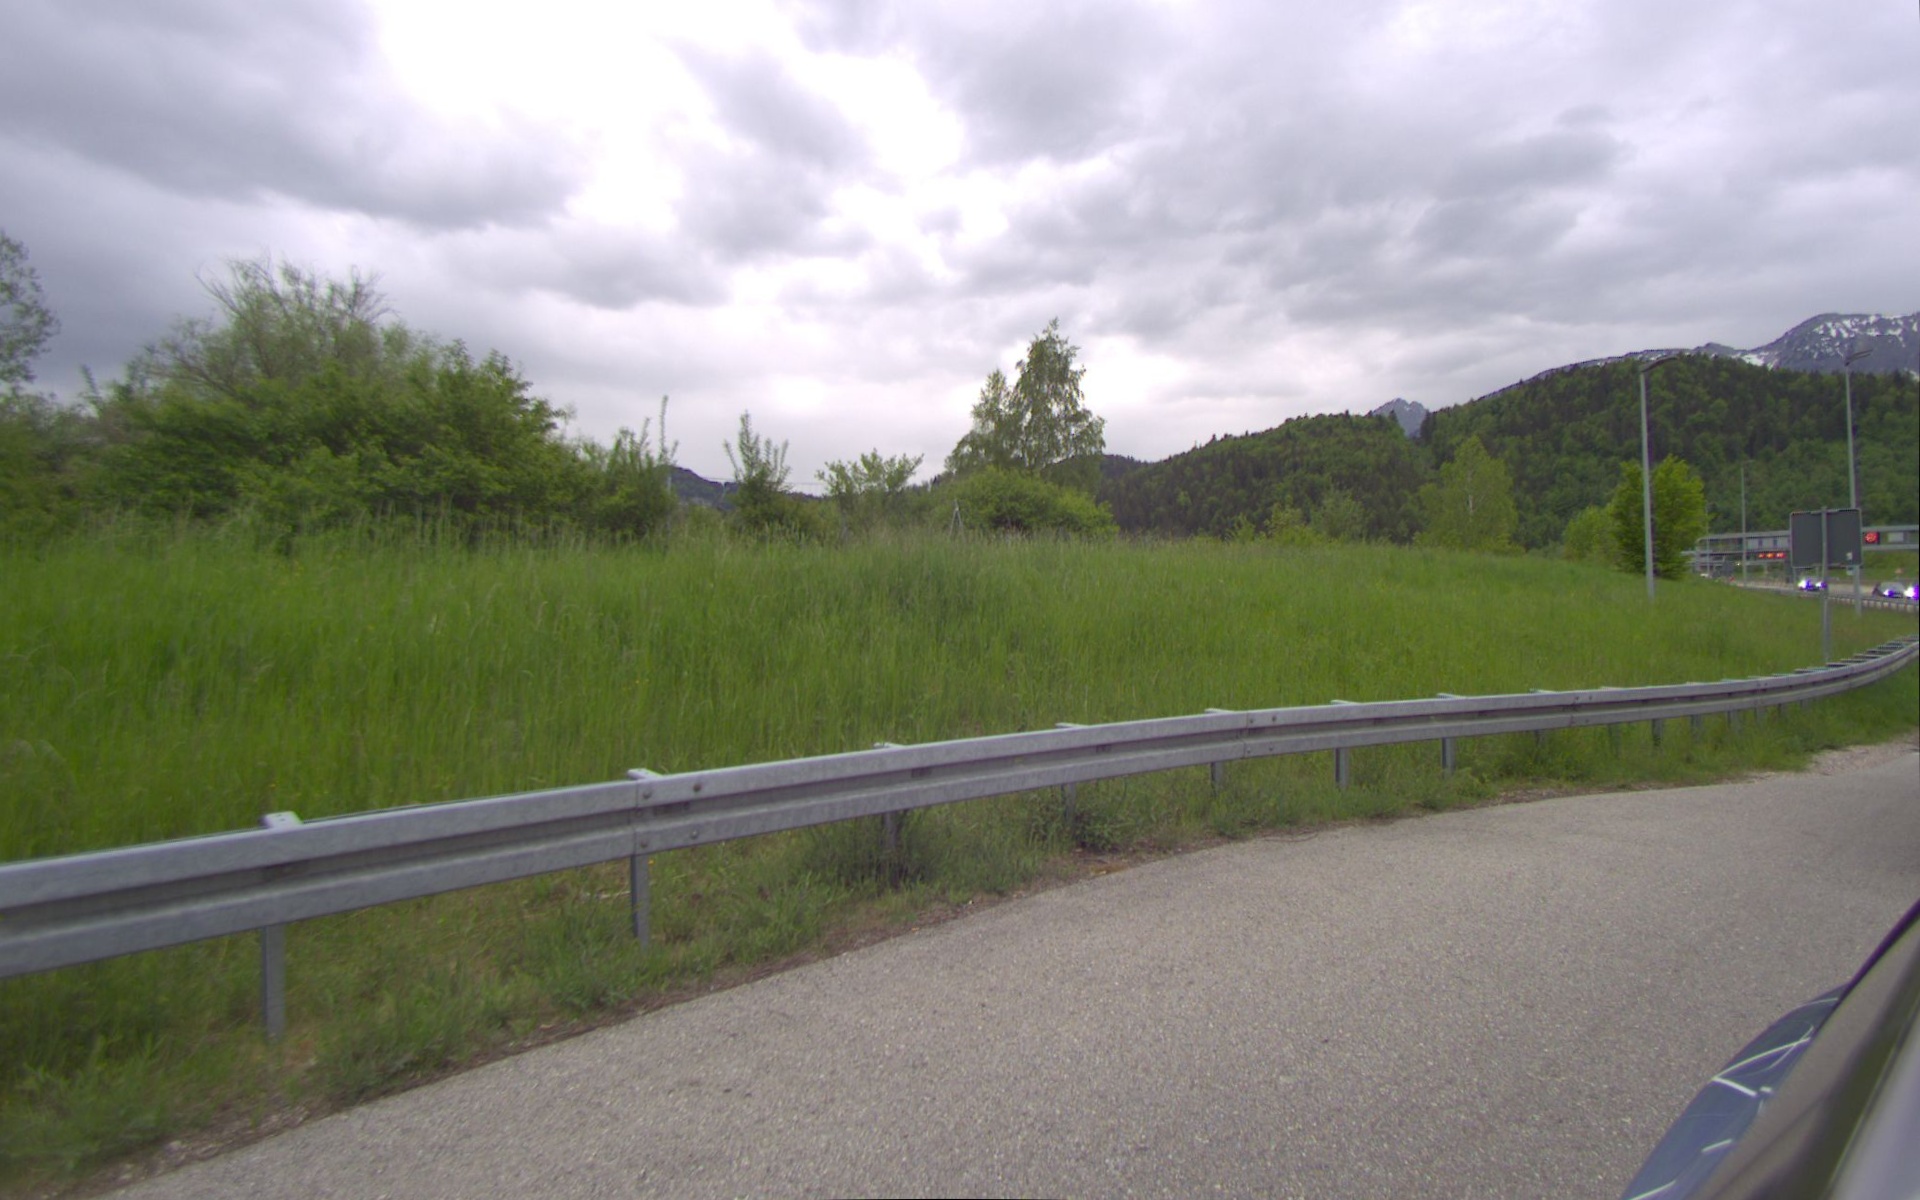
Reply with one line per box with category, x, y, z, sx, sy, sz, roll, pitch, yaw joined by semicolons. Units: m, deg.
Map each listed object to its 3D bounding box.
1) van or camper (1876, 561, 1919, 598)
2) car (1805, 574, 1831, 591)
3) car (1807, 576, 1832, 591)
van or camper;73.617;-1.582;77.964;3.321;2.677;8.102;1;2;34
car;99.251;-2.001;117.085;1.855;1.895;3.952;1;2;34
car;99.376;-1.884;117.043;1.710;1.659;4.294;1;2;35
